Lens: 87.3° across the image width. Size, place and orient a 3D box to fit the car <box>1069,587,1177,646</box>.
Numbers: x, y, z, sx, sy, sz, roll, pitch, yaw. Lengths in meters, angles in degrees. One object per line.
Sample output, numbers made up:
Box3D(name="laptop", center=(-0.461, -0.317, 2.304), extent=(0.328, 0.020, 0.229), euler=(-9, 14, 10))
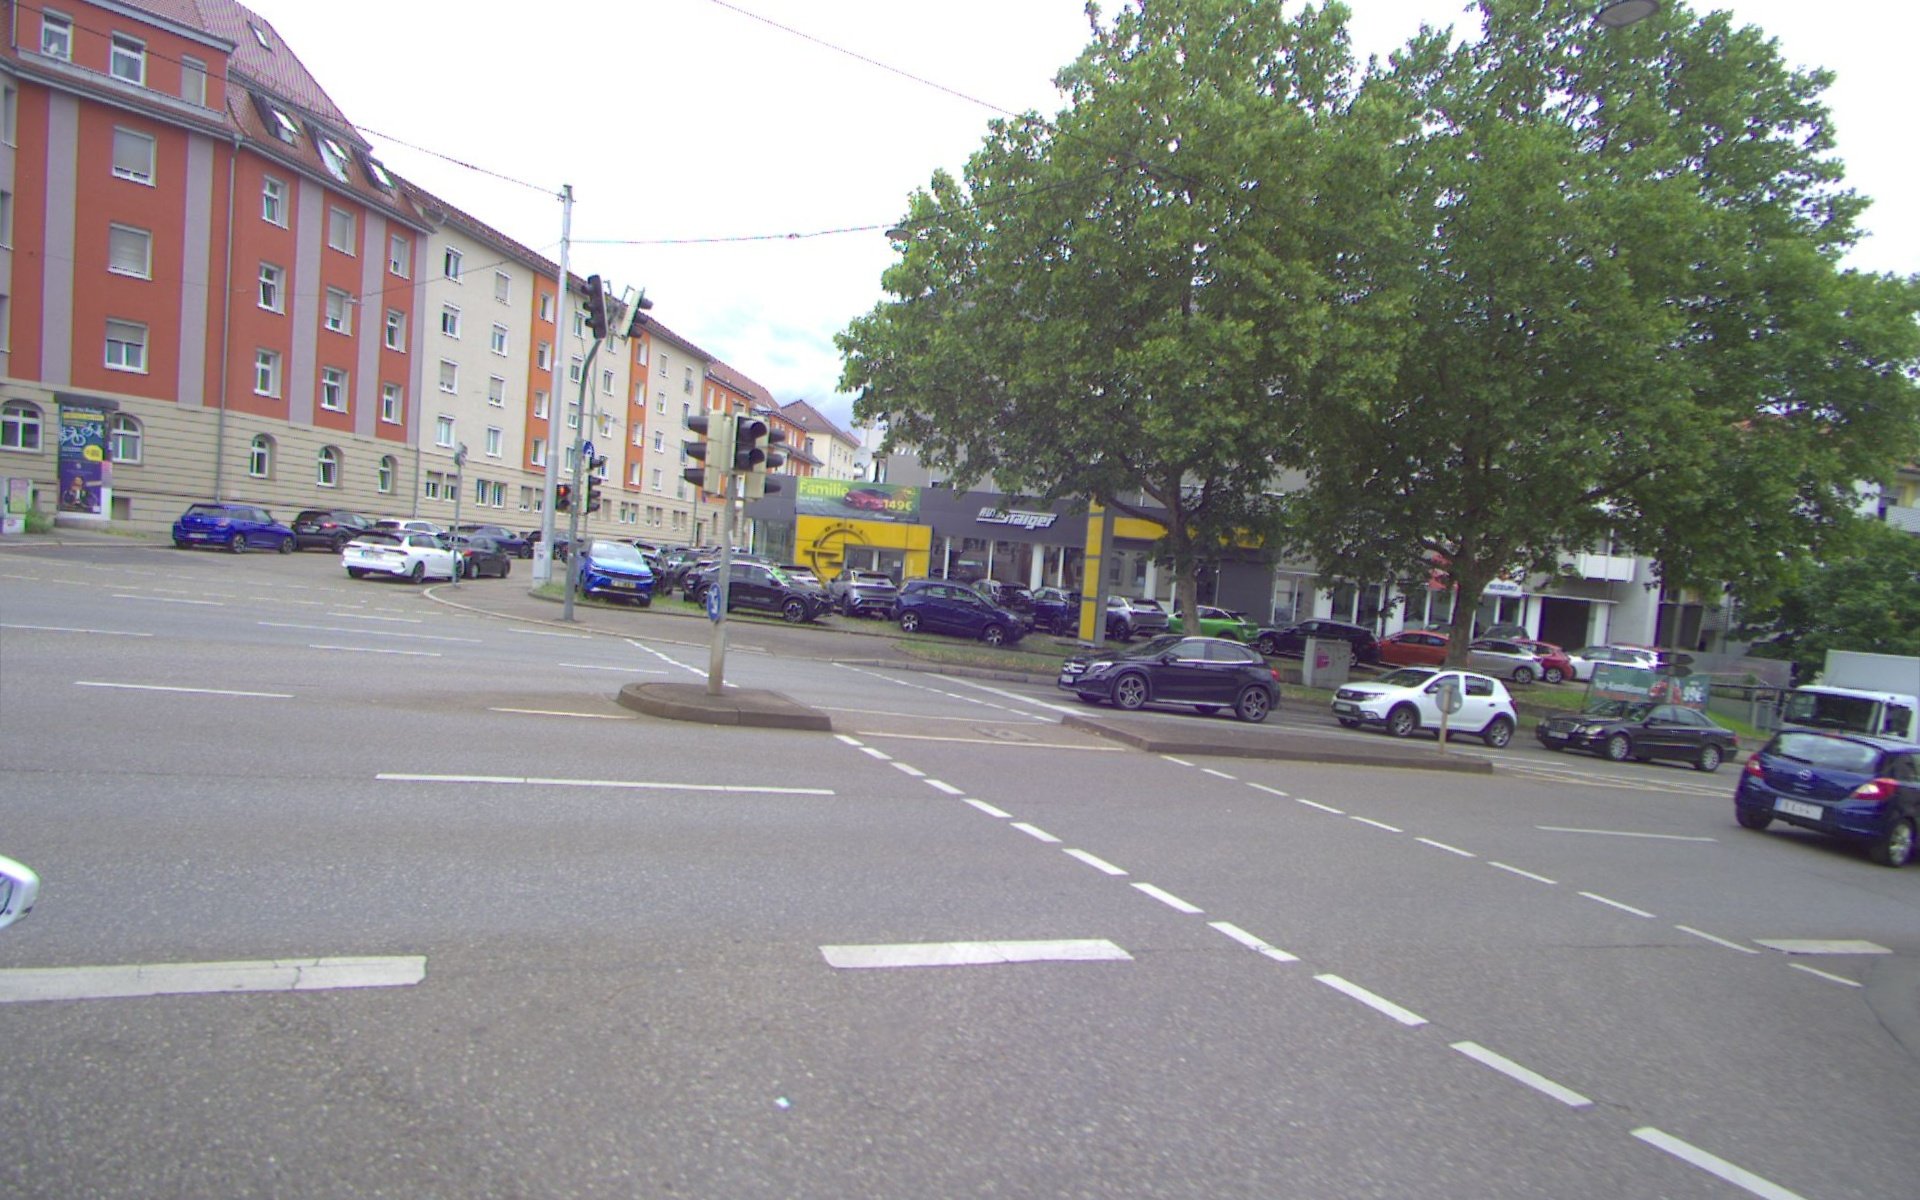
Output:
Box3D(name="car", center=(5.601, 0.535, 35.081), extent=(1.837, 1.571, 3.978), euler=(6, 2, -21))

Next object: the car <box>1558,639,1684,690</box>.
Box3D(name="car", center=(27.458, 2.643, 41.944), extent=(3.926, 1.525, 1.861), euler=(7, 2, 22))

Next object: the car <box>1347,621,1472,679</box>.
Box3D(name="car", center=(16.465, 1.791, 36.910), extent=(3.928, 1.525, 1.860), euler=(7, 2, 25))

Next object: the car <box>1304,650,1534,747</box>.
Box3D(name="car", center=(9.874, 2.105, 21.714), extent=(4.195, 1.545, 1.992), euler=(6, 0, -19))

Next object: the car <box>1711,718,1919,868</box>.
Box3D(name="car", center=(11.925, 2.503, 13.041), extent=(3.700, 1.465, 1.751), euler=(6, 0, -22))

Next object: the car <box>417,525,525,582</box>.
Box3D(name="car", center=(-16.457, -1.582, 34.089), extent=(1.885, 1.555, 4.132), euler=(7, 2, -6))

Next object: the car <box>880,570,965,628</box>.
Box3D(name="car", center=(-1.330, -0.089, 34.163), extent=(1.834, 1.570, 3.983), euler=(6, 2, -16))

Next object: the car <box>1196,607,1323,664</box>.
Box3D(name="car", center=(10.836, 1.278, 36.523), extent=(3.938, 1.525, 1.748), euler=(8, 3, 37))

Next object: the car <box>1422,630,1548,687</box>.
Box3D(name="car", center=(19.643, 2.146, 37.777), extent=(3.930, 1.525, 1.859), euler=(8, 2, 28))

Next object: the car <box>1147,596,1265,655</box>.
Box3D(name="car", center=(8.605, 0.881, 35.242), extent=(3.553, 1.573, 1.616), euler=(8, 3, 34))

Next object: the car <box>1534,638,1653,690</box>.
Box3D(name="car", center=(25.119, 2.514, 40.030), extent=(3.550, 1.525, 1.790), euler=(7, 2, 20))

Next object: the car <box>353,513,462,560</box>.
Box3D(name="car", center=(-23.426, -2.659, 42.845), extent=(1.882, 1.655, 4.138), euler=(7, 2, 6))

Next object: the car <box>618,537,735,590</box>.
Box3D(name="car", center=(-11.319, -1.456, 40.287), extent=(4.042, 1.555, 1.792), euler=(7, 3, 0))

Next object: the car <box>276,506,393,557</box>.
Box3D(name="car", center=(-23.337, -2.524, 37.744), extent=(1.884, 1.555, 4.134), euler=(7, 2, -4))

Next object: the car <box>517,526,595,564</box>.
Box3D(name="car", center=(-21.556, -2.928, 53.898), extent=(1.882, 1.655, 4.139), euler=(7, 2, 9))

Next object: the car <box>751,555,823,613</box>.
Box3D(name="car", center=(-5.879, -0.581, 33.844), extent=(1.834, 1.570, 3.983), euler=(6, 2, -16))

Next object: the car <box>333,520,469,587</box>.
Box3D(name="car", center=(-15.915, -1.353, 28.898), extent=(1.885, 1.555, 4.131), euler=(7, 2, -7))

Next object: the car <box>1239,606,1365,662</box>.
Box3D(name="car", center=(12.707, 1.247, 37.442), extent=(3.938, 1.525, 1.855), euler=(8, 2, 37))

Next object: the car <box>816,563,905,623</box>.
Box3D(name="car", center=(-3.385, -0.281, 33.545), extent=(1.837, 1.571, 3.977), euler=(6, 2, -22))

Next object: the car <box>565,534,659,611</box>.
Box3D(name="car", center=(-9.650, -0.813, 27.672), extent=(1.807, 1.598, 4.227), euler=(7, 3, -27))

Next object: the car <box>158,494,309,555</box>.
Box3D(name="car", center=(-22.899, -2.330, 31.924), extent=(1.884, 1.555, 4.133), euler=(7, 2, -4))

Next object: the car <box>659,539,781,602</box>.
Box3D(name="car", center=(-8.962, -1.127, 37.811), extent=(4.173, 1.804, 1.708), euler=(7, 3, -9))

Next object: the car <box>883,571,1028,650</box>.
Box3D(name="car", center=(-0.105, 0.279, 30.686), extent=(4.091, 1.632, 1.824), euler=(8, 7, 4))

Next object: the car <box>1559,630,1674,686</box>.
Box3D(name="car", center=(28.815, 2.512, 44.191), extent=(3.938, 1.847, 1.855), euler=(8, 3, 37))

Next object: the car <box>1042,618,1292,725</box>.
Box3D(name="car", center=(3.969, 1.367, 19.409), extent=(4.195, 1.545, 1.992), euler=(6, 0, -19))

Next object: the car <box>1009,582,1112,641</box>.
Box3D(name="car", center=(3.395, 0.353, 34.706), extent=(1.837, 1.571, 3.978), euler=(6, 2, -21))

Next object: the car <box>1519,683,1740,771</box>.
Box3D(name="car", center=(15.578, 2.958, 23.444), extent=(4.345, 1.484, 1.992), euler=(7, 0, -19))

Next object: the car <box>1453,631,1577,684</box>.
Box3D(name="car", center=(21.749, 2.227, 39.481), extent=(3.938, 1.525, 1.855), euler=(8, 2, 37))

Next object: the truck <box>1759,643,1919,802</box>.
Box3D(name="truck", center=(25.451, 3.371, 26.393), extent=(8.048, 3.545, 2.763), euler=(6, 0, -18))

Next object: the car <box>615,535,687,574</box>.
Box3D(name="car", center=(-15.530, -2.251, 50.790), extent=(1.882, 1.667, 4.138), euler=(7, 2, 5))

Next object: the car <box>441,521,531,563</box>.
Box3D(name="car", center=(-22.591, -2.731, 48.117), extent=(1.882, 1.655, 4.138), euler=(7, 2, 6))

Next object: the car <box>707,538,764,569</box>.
Box3D(name="car", center=(-13.677, -2.814, 61.579), extent=(1.882, 1.555, 4.139), euler=(7, 2, 9))

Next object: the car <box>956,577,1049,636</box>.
Box3D(name="car", center=(1.372, 0.167, 34.175), extent=(1.834, 1.570, 3.983), euler=(6, 2, -16))

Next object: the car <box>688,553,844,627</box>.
Box3D(name="car", center=(-5.577, -0.307, 29.163), extent=(3.925, 1.496, 1.828), euler=(8, 3, 5))

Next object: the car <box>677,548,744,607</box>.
Box3D(name="car", center=(-8.143, -0.766, 32.622), extent=(1.834, 1.570, 3.983), euler=(6, 2, -16))
